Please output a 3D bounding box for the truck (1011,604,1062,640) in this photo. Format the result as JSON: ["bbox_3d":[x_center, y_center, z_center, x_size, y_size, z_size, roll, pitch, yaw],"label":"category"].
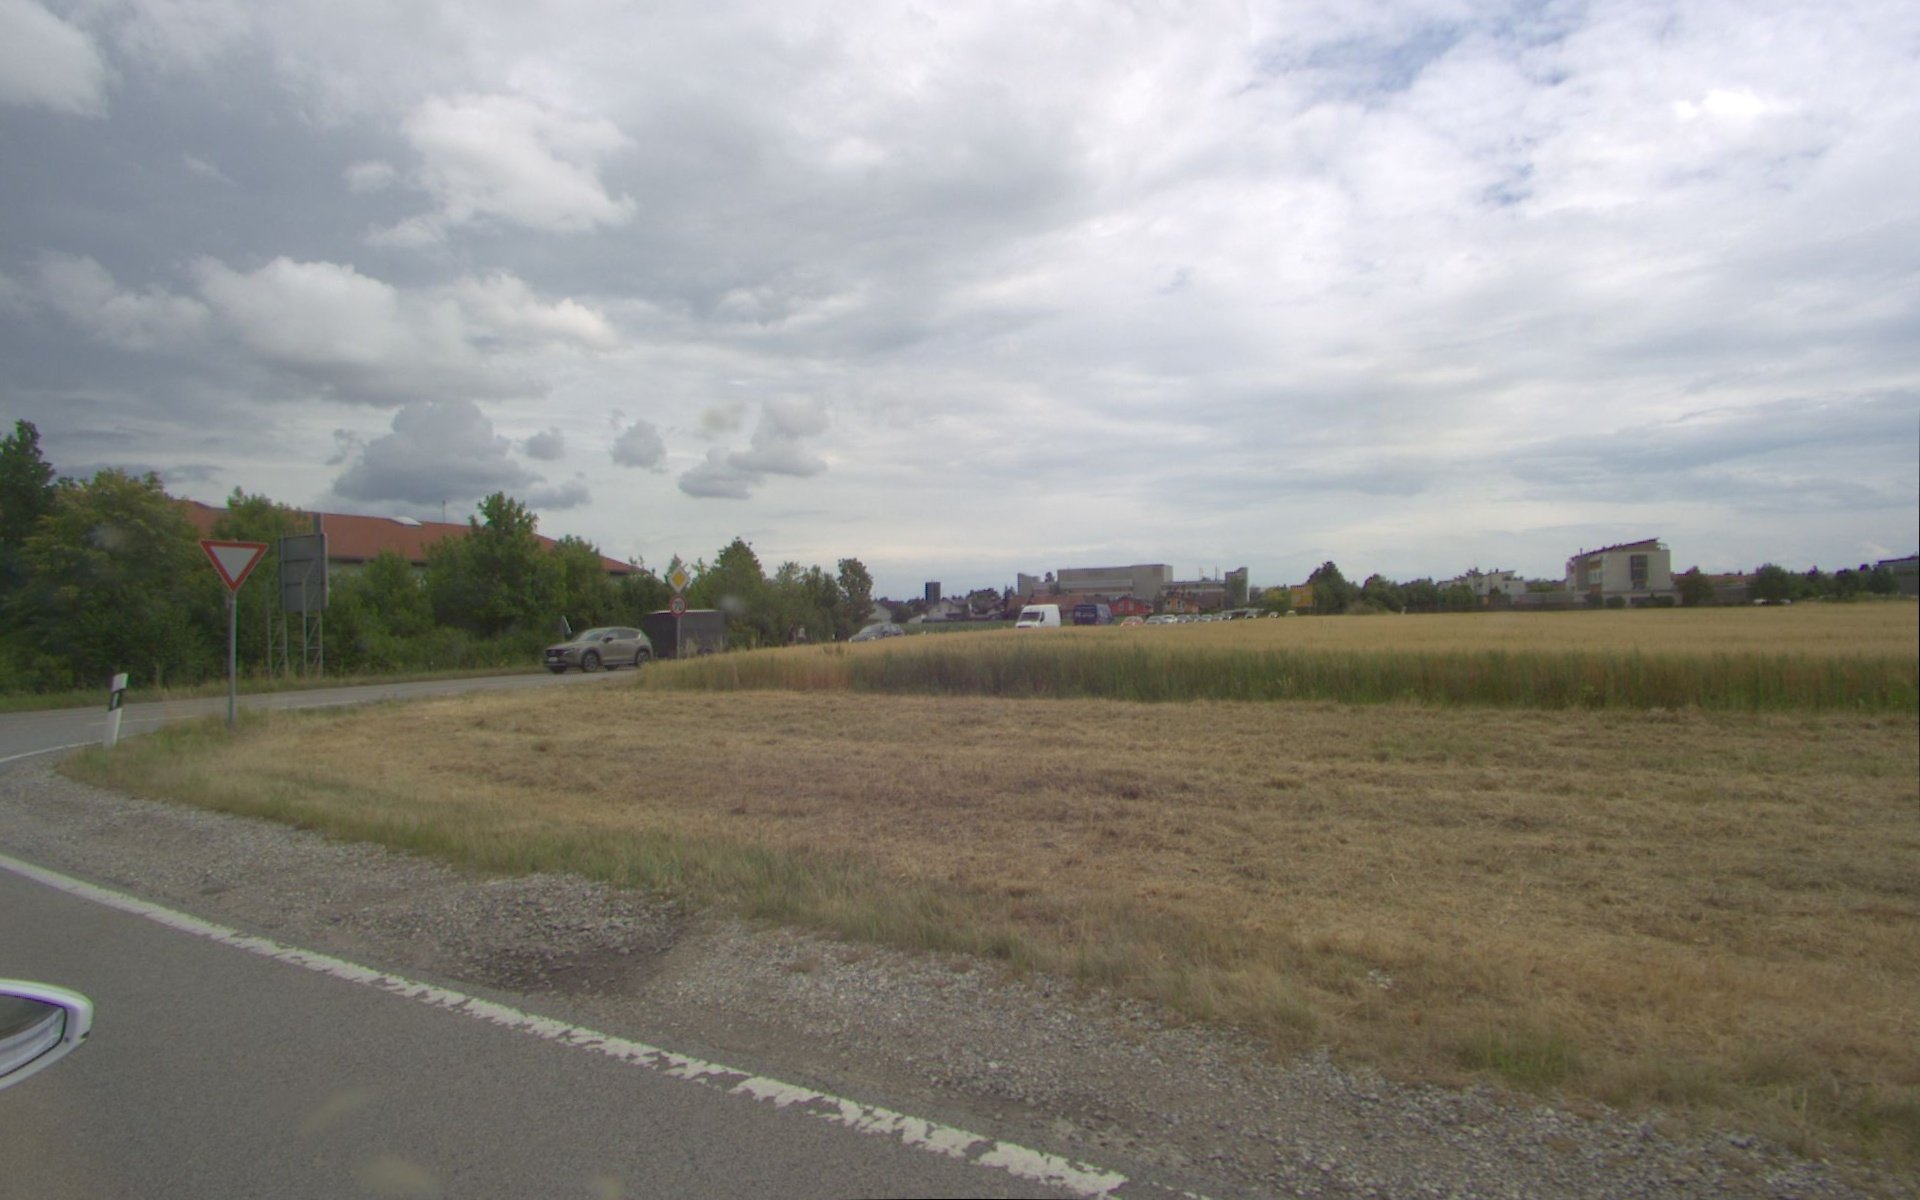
[{"bbox_3d":[6.123,1.725,79.190,1.968,2.608,5.996,-3,-2,25],"label":"truck"}]

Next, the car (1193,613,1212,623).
[{"bbox_3d":[33.066,2.459,136.341,1.826,1.287,3.518,-1,-1,25],"label":"car"}]

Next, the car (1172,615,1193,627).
[{"bbox_3d":[27.187,2.563,122.333,1.826,1.287,3.518,-1,-1,25],"label":"car"}]

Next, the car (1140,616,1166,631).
[{"bbox_3d":[20.962,2.543,108.728,1.826,1.486,3.986,-1,-1,26],"label":"car"}]

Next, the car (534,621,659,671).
[{"bbox_3d":[-13.764,1.709,38.199,1.967,1.704,4.466,-3,-1,23],"label":"car"}]

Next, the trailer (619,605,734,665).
[{"bbox_3d":[-11.915,1.432,42.358,2.378,2.322,4.383,-3,-1,23],"label":"trailer"}]

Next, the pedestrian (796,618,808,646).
[{"bbox_3d":[-9.771,1.985,61.940,0.521,1.705,0.626,0,1,21],"label":"pedestrian"}]

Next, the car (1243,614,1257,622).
[{"bbox_3d":[49.131,3.095,169.647,1.826,1.287,3.518,-1,-1,25],"label":"car"}]

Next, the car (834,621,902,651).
[{"bbox_3d":[-5.157,2.035,56.968,1.968,1.506,4.287,-2,0,25],"label":"car"}]

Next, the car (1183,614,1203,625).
[{"bbox_3d":[30.160,2.539,129.468,1.826,1.287,3.518,-1,-1,25],"label":"car"}]

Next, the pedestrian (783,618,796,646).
[{"bbox_3d":[-10.582,2.000,62.257,0.521,1.705,0.626,0,1,21],"label":"pedestrian"}]

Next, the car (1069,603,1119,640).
[{"bbox_3d":[10.261,1.554,76.246,2.115,2.674,5.549,0,0,26],"label":"car"}]

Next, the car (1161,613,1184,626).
[{"bbox_3d":[24.825,2.284,116.778,1.826,1.486,3.987,-1,-1,25],"label":"car"}]

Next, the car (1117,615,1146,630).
[{"bbox_3d":[17.587,2.265,102.478,1.826,1.486,3.986,-1,-1,26],"label":"car"}]
